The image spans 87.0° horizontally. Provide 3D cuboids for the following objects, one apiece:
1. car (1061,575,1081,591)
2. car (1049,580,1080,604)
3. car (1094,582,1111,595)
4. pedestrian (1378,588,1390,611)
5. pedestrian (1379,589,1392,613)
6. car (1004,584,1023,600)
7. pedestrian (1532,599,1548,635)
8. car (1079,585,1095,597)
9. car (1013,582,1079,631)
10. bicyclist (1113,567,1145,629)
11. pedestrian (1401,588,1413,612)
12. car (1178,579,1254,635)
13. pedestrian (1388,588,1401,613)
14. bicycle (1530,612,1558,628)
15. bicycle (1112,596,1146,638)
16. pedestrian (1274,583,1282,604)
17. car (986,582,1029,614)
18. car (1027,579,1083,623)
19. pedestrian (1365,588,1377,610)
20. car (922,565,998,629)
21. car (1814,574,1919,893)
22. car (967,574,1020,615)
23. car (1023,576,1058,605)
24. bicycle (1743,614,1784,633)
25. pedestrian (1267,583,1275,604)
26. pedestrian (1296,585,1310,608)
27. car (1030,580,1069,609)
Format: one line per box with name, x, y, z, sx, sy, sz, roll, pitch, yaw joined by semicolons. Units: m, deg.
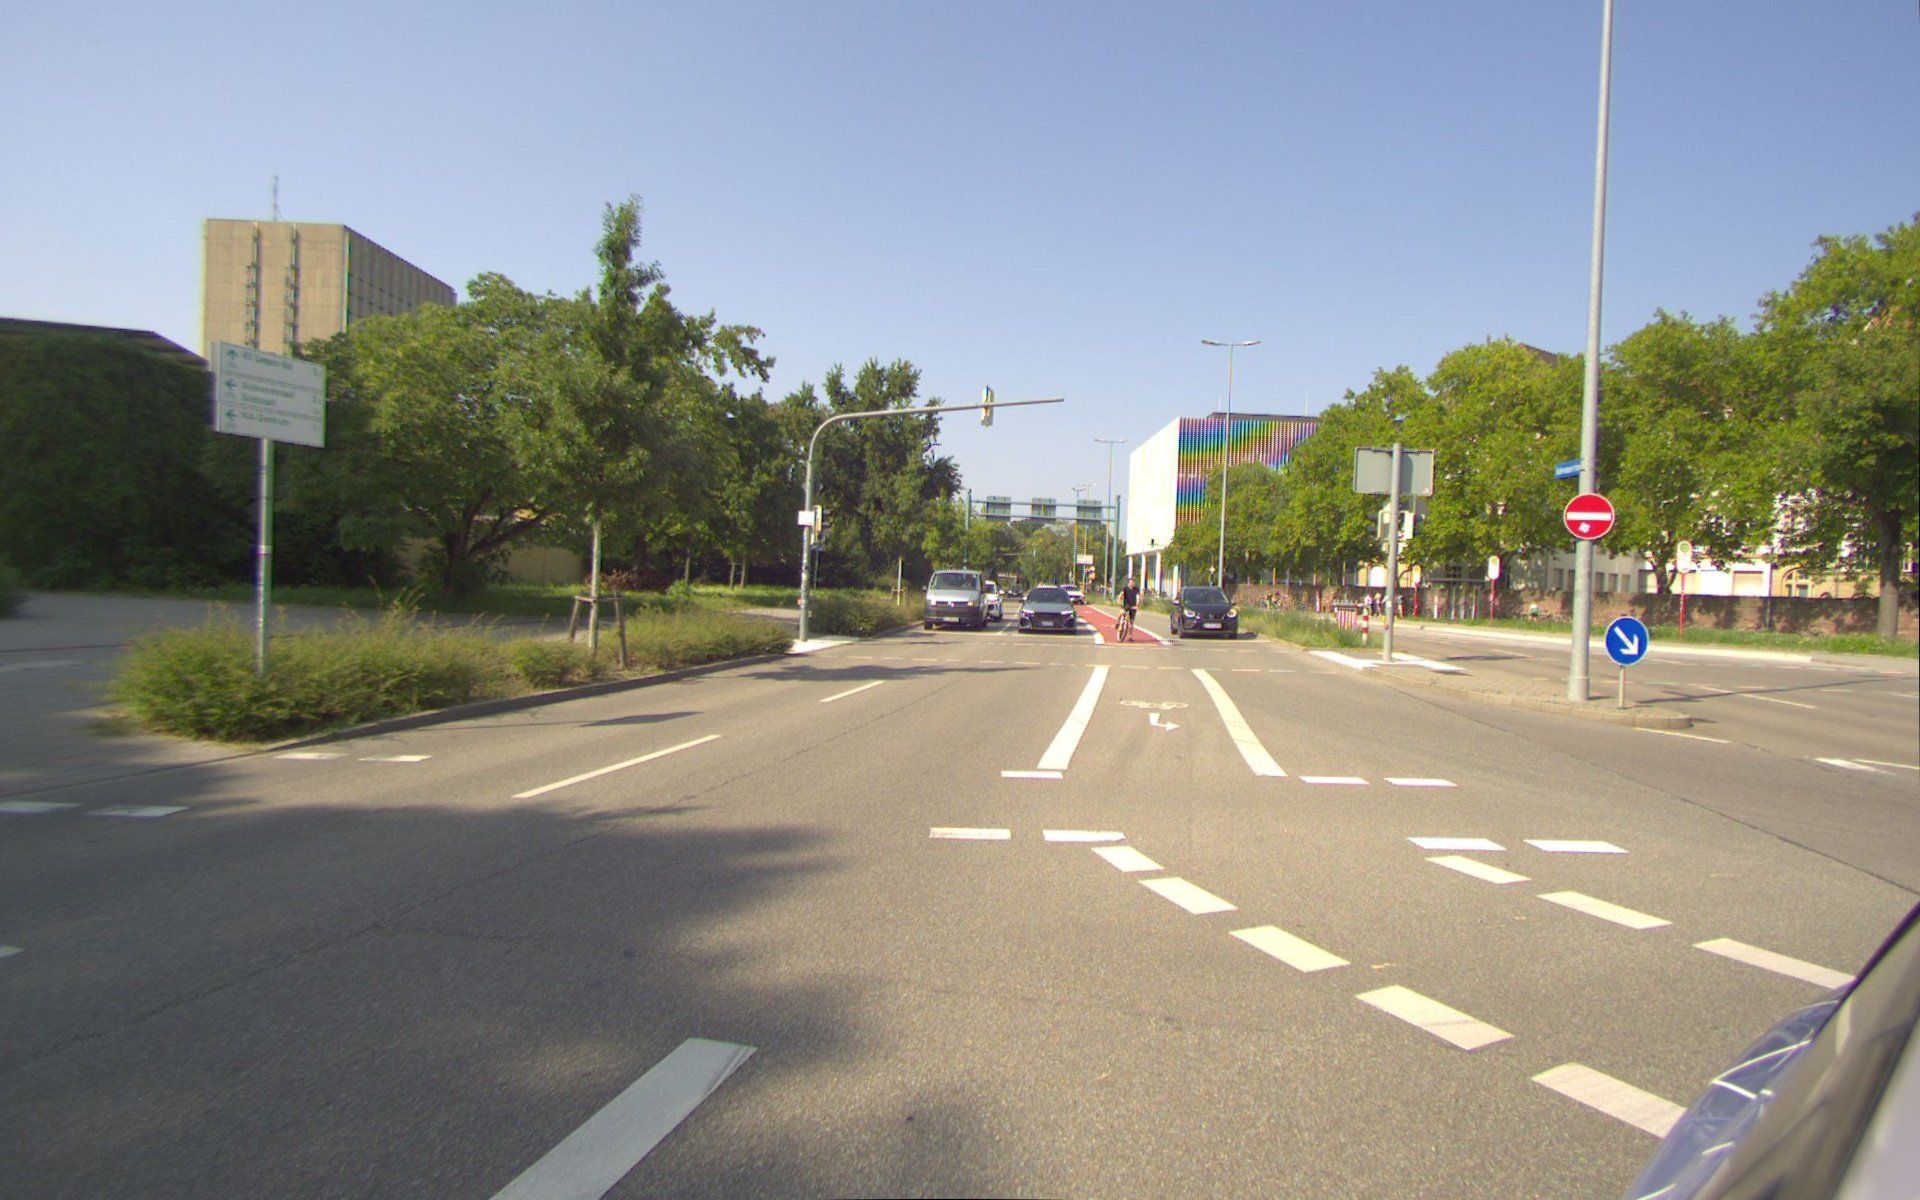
car;14.867;-2.251;135.645;1.881;2.039;4.003;3;-1;-5
car;7.906;-0.665;76.803;1.897;1.680;4.294;2;1;1
car;18.568;-1.575;132.012;1.679;1.593;4.001;2;1;0
pedestrian;31.059;-0.045;74.103;0.473;1.673;0.595;3;-2;-15
pedestrian;30.343;0.054;72.187;0.509;1.673;0.595;3;-2;-15
car;6.059;-0.917;114.340;1.897;1.680;4.294;2;1;1
pedestrian;34.867;1.029;60.860;0.509;2.132;0.595;3;-2;-15
car;18.151;-1.266;144.311;1.679;1.593;4.001;2;1;-1
car;2.894;0.142;33.163;1.879;1.418;4.910;2;1;7
bicyclist;4.661;-0.064;27.892;0.736;1.655;0.874;2;1;5
pedestrian;31.504;-0.009;71.296;0.473;1.673;0.595;3;-2;-15
car;7.884;0.151;31.518;1.823;1.598;4.703;1;1;9
pedestrian;30.570;0.044;71.203;0.509;1.673;0.595;3;-2;-15
bicycle;35.386;1.206;61.352;0.425;0.846;1.554;2;1;-20
bicycle;4.635;0.449;27.859;0.757;1.065;1.773;3;2;5
pedestrian;27.127;-0.531;86.367;0.477;1.762;0.505;2;-2;0
car;2.531;-0.134;52.549;1.965;1.524;4.429;2;1;6
car;3.765;-0.001;39.374;1.966;1.524;4.426;2;1;8
pedestrian;29.987;-0.067;73.850;0.523;1.591;0.503;3;-2;-18
car;0.090;-0.149;33.712;1.816;1.898;4.963;3;1;7
car;6.811;0.699;4.315;4.779;1.458;1.827;2;1;-2
car;1.429;-0.239;41.744;1.780;1.524;3.960;2;1;8
car;5.035;-0.642;63.885;1.897;1.680;4.294;2;1;1
bicycle;39.776;1.176;50.108;0.425;0.846;1.553;2;1;-23
pedestrian;26.567;-0.555;86.404;0.477;1.762;0.505;2;-2;0
pedestrian;29.810;-0.309;88.019;0.727;1.979;0.933;3;-2;-6
car;5.062;-0.358;57.904;1.897;1.524;4.294;2;1;1
